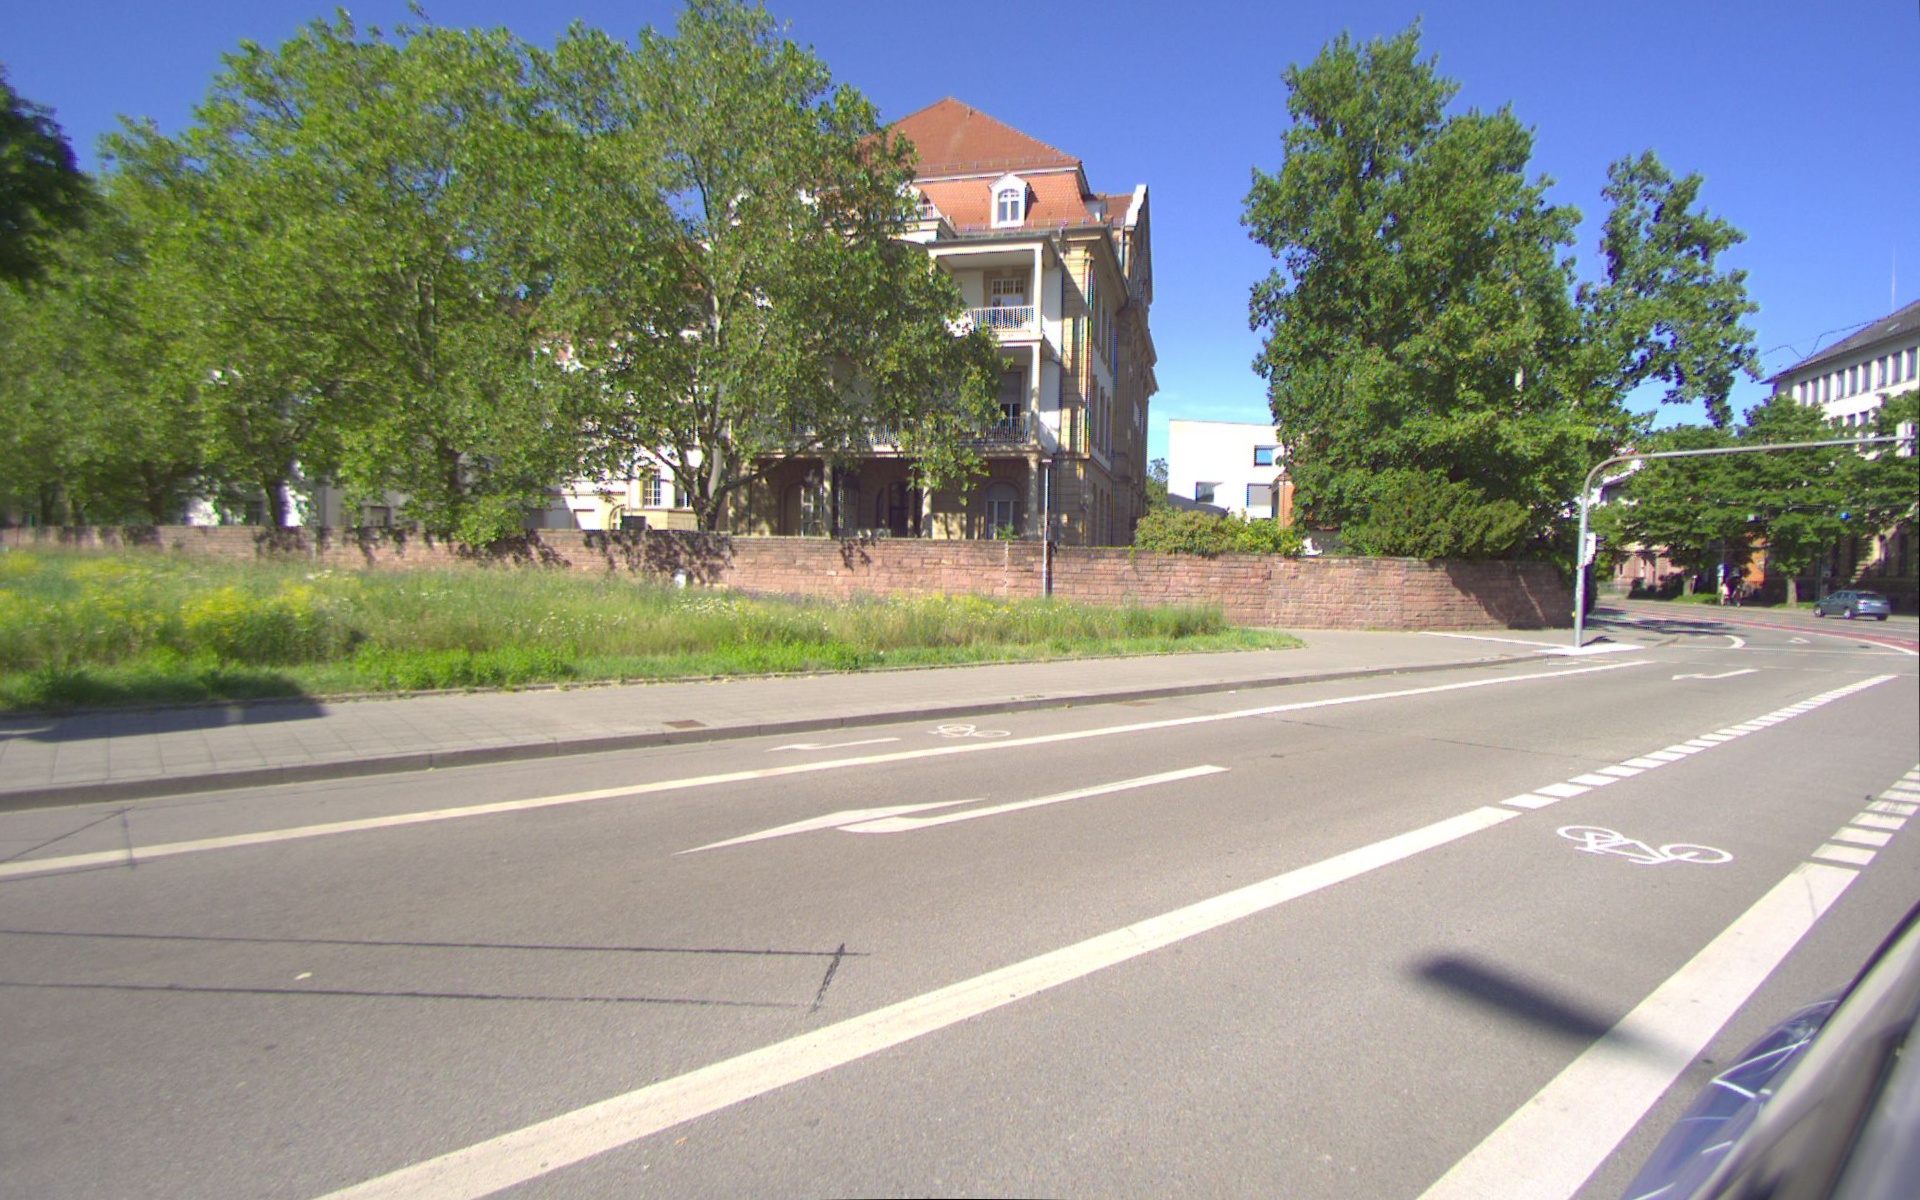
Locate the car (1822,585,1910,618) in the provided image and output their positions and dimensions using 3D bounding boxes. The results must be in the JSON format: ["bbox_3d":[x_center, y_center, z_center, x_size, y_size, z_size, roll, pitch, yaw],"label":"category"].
[{"bbox_3d":[50.051,0.020,56.023,1.835,1.561,4.223,3,3,14],"label":"car"}]

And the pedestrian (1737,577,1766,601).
[{"bbox_3d":[60.803,-0.856,77.740,1.366,1.844,0.937,1,1,4],"label":"pedestrian"}]

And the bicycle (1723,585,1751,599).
[{"bbox_3d":[58.058,-0.609,75.623,0.720,1.003,1.834,1,2,3],"label":"bicycle"}]

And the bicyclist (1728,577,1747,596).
[{"bbox_3d":[58.074,-1.028,75.576,0.720,1.402,0.895,1,1,3],"label":"bicyclist"}]

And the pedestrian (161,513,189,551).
[{"bbox_3d":[-31.223,-2.707,40.245,0.516,1.461,0.721,0,0,20],"label":"pedestrian"}]
